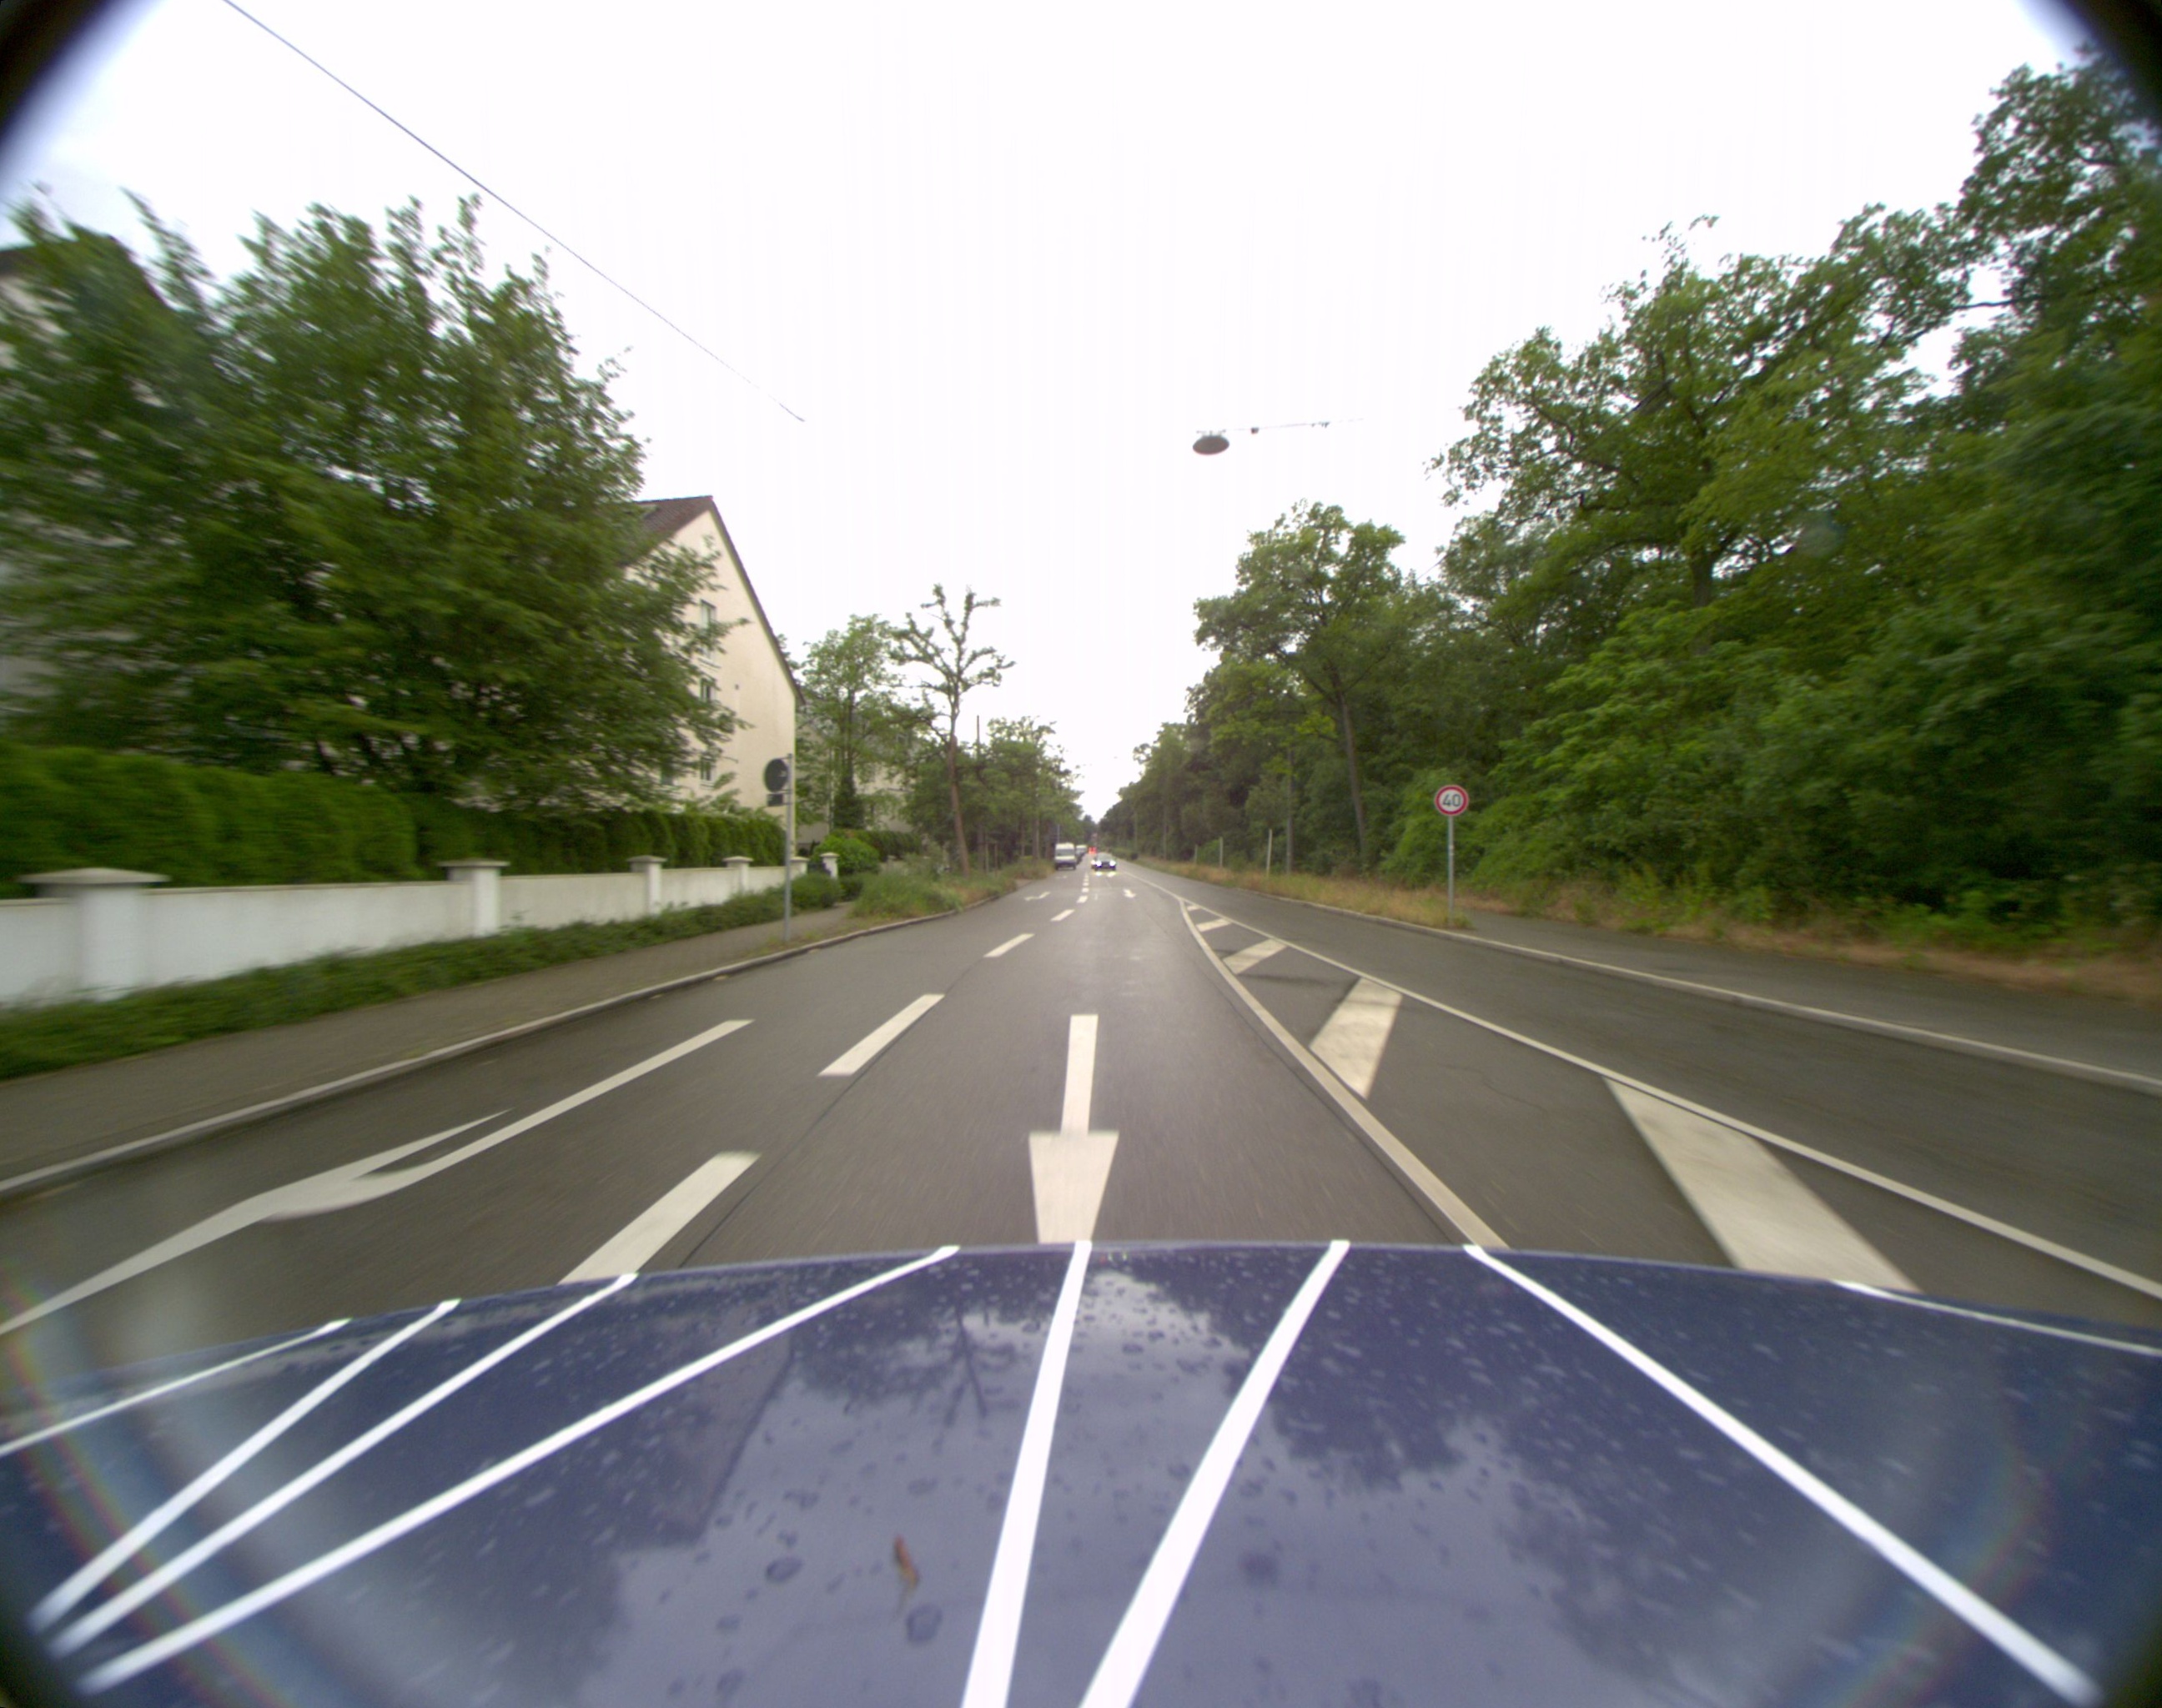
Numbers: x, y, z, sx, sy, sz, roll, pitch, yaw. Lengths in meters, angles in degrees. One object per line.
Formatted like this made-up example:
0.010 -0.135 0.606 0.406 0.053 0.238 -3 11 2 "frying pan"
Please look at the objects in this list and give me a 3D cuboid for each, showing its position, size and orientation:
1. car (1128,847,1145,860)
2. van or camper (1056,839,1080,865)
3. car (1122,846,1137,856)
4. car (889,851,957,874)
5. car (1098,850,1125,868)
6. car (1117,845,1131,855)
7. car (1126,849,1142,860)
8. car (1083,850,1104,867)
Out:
7.445 -0.067 102.050 1.945 1.594 4.603 1 0 0 "car"
-1.228 -0.189 72.695 1.998 2.438 4.722 0 1 2 "van or camper"
7.502 -0.465 116.941 1.945 1.594 4.603 1 0 0 "car"
-9.470 0.505 45.682 3.632 1.357 1.537 0 1 9 "car"
2.601 0.410 65.723 1.945 1.446 4.603 1 0 -1 "car"
7.237 -0.665 128.123 1.945 1.594 4.603 1 0 0 "car"
7.706 0.062 110.601 1.945 1.594 4.603 1 0 0 "car"
1.200 0.397 75.243 1.945 1.594 4.603 1 0 0 "car"
